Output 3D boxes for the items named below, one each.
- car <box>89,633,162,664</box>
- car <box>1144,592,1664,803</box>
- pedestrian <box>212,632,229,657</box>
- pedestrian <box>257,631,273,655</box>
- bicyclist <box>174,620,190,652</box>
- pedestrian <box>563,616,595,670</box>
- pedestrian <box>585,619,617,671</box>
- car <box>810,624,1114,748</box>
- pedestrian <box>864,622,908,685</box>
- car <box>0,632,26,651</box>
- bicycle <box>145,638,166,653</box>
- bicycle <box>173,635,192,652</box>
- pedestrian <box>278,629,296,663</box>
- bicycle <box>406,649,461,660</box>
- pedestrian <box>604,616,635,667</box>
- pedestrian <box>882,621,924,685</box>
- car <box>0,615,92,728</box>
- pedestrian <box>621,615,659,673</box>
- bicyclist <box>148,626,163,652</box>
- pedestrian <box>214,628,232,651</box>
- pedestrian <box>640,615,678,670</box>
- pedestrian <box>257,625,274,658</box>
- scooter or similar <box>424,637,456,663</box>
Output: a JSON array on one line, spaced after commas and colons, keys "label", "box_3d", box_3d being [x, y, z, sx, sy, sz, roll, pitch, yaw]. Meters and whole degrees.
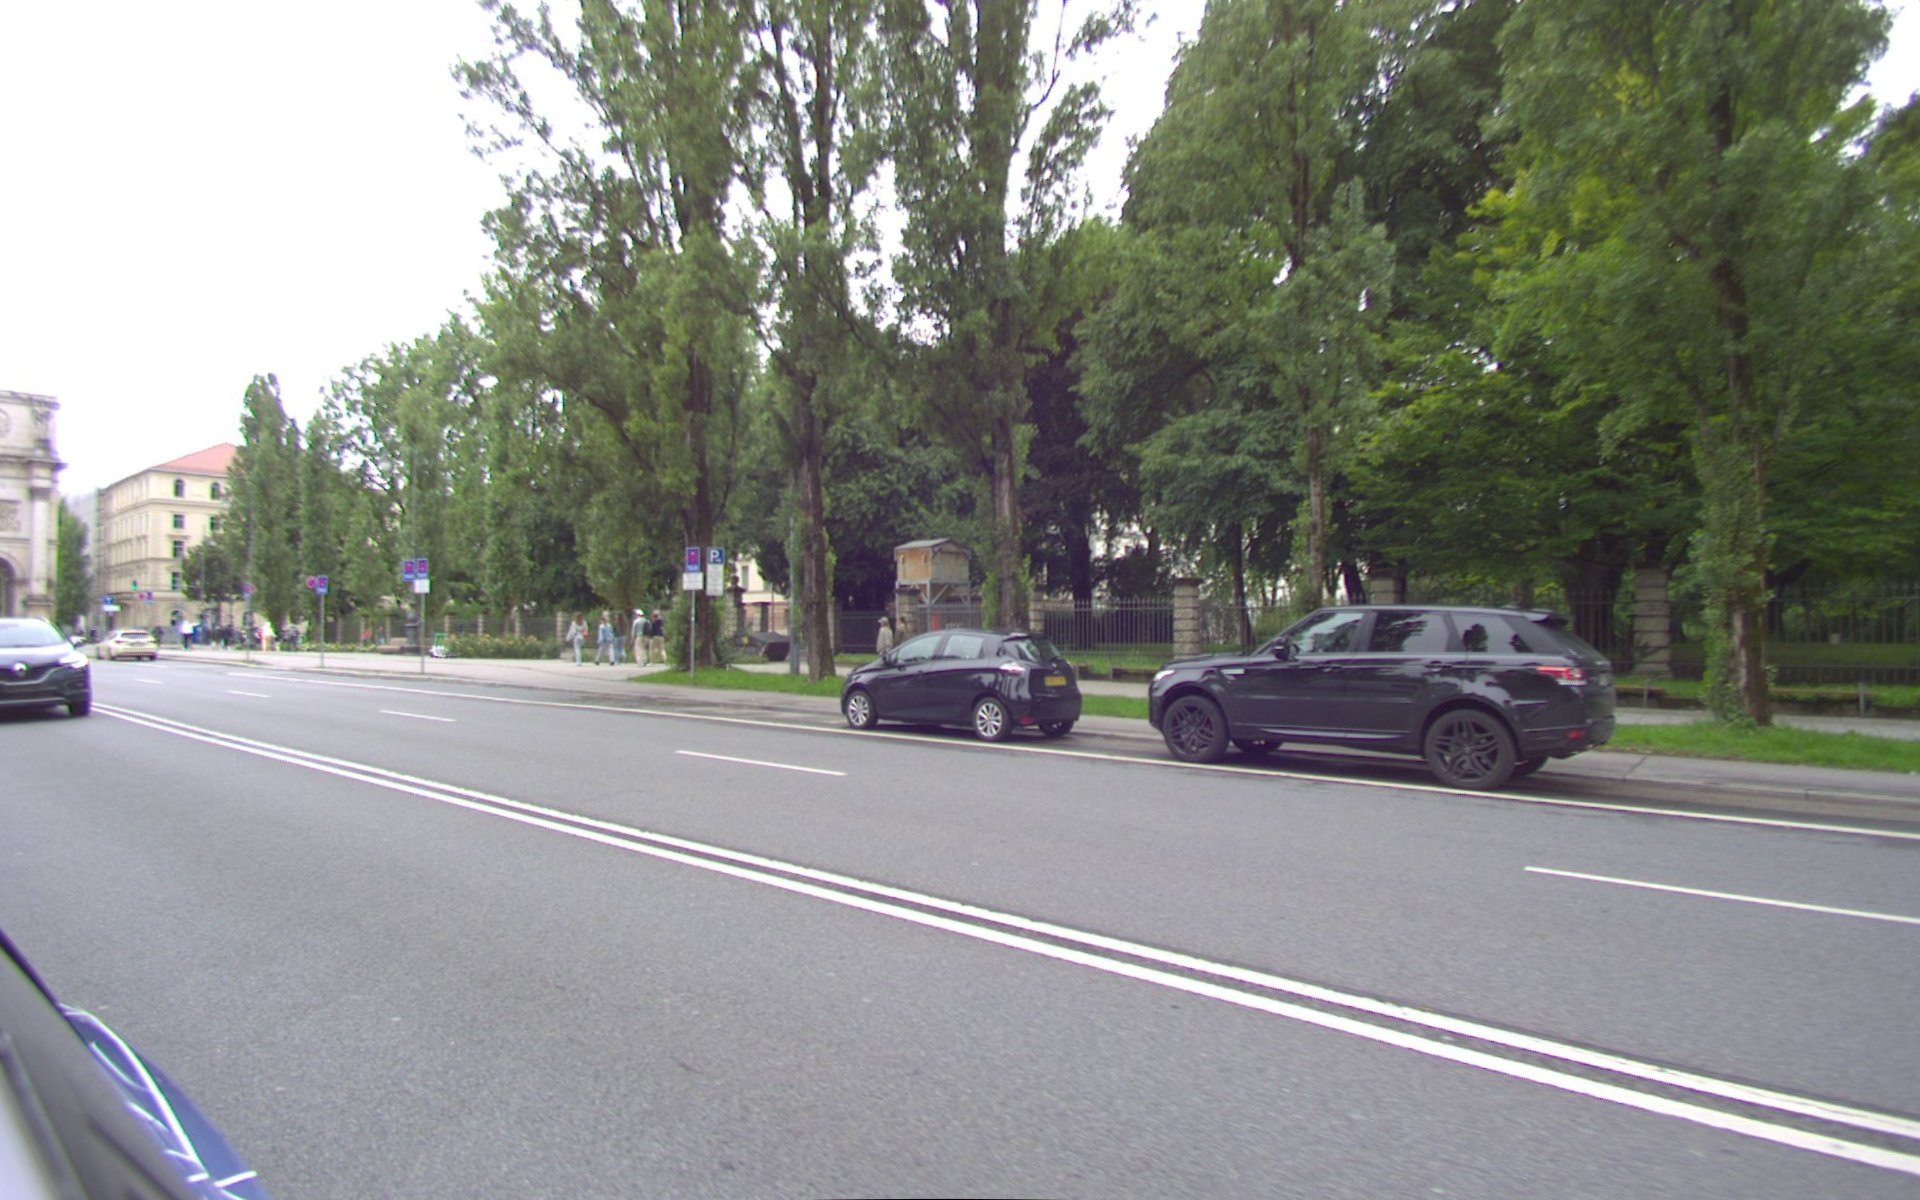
[{"label": "car", "box_3d": [-39.869, 2.281, 48.333, 4.463, 1.347, 1.775, 0, -2, 39]}, {"label": "car", "box_3d": [4.614, 0.939, 11.038, 4.798, 1.800, 2.024, -2, -4, 42]}, {"label": "pedestrian", "box_3d": [-53.640, 3.202, 73.384, 0.945, 1.731, 1.032, 0, -1, -38]}, {"label": "pedestrian", "box_3d": [-56.759, 3.512, 82.676, 0.976, 1.885, 1.032, 0, -1, -40]}, {"label": "bicyclist", "box_3d": [-44.721, 2.073, 58.191, 0.660, 1.837, 0.583, -2, -1, 38]}, {"label": "pedestrian", "box_3d": [-12.712, 1.424, 33.730, 0.907, 1.760, 0.623, -2, -3, 40]}, {"label": "pedestrian", "box_3d": [-12.213, 1.523, 34.448, 0.885, 1.713, 0.681, -2, -3, 40]}, {"label": "car", "box_3d": [-0.069, 1.203, 15.223, 4.386, 1.596, 1.924, -2, -4, 41]}, {"label": "pedestrian", "box_3d": [-1.895, 1.347, 25.772, 0.874, 1.560, 0.711, -2, -3, 39]}, {"label": "car", "box_3d": [-91.356, 3.950, 95.830, 3.944, 1.763, 1.999, 0, -2, 1]}, {"label": "bicycle", "box_3d": [-52.495, 2.961, 66.020, 1.912, 0.959, 0.666, -2, -1, 40]}, {"label": "bicycle", "box_3d": [-44.718, 2.523, 58.221, 1.912, 0.959, 0.465, -2, -1, 40]}, {"label": "pedestrian", "box_3d": [-34.106, 2.336, 51.312, 0.581, 1.744, 0.527, -1, -2, 29]}, {"label": "bicycle", "box_3d": [-26.903, 2.783, 51.723, 1.331, 0.456, 2.204, -2, -2, 18]}, {"label": "pedestrian", "box_3d": [-11.782, 1.444, 35.036, 0.910, 1.729, 0.653, -2, -3, 40]}, {"label": "pedestrian", "box_3d": [-1.485, 1.373, 26.369, 0.812, 1.617, 0.711, -2, -3, 39]}, {"label": "car", "box_3d": [-15.240, 1.079, 15.929, 4.183, 1.598, 1.816, -2, -1, 41]}, {"label": "pedestrian", "box_3d": [-10.466, 1.411, 33.102, 1.092, 1.847, 0.702, -1, -1, 40]}, {"label": "bicyclist", "box_3d": [-52.477, 2.539, 65.982, 0.660, 1.604, 0.639, -2, -1, 38]}, {"label": "pedestrian", "box_3d": [-56.697, 3.022, 77.876, 0.944, 1.731, 1.033, -1, -1, -28]}, {"label": "pedestrian", "box_3d": [-10.024, 1.389, 33.664, 1.092, 1.786, 0.702, -1, -1, 40]}, {"label": "pedestrian", "box_3d": [-36.961, 2.191, 53.840, 0.581, 1.744, 0.527, -1, -2, 29]}, {"label": "scooter or similar", "box_3d": [-24.460, 2.341, 47.603, 1.413, 1.187, 0.738, -2, -4, 36]}]
